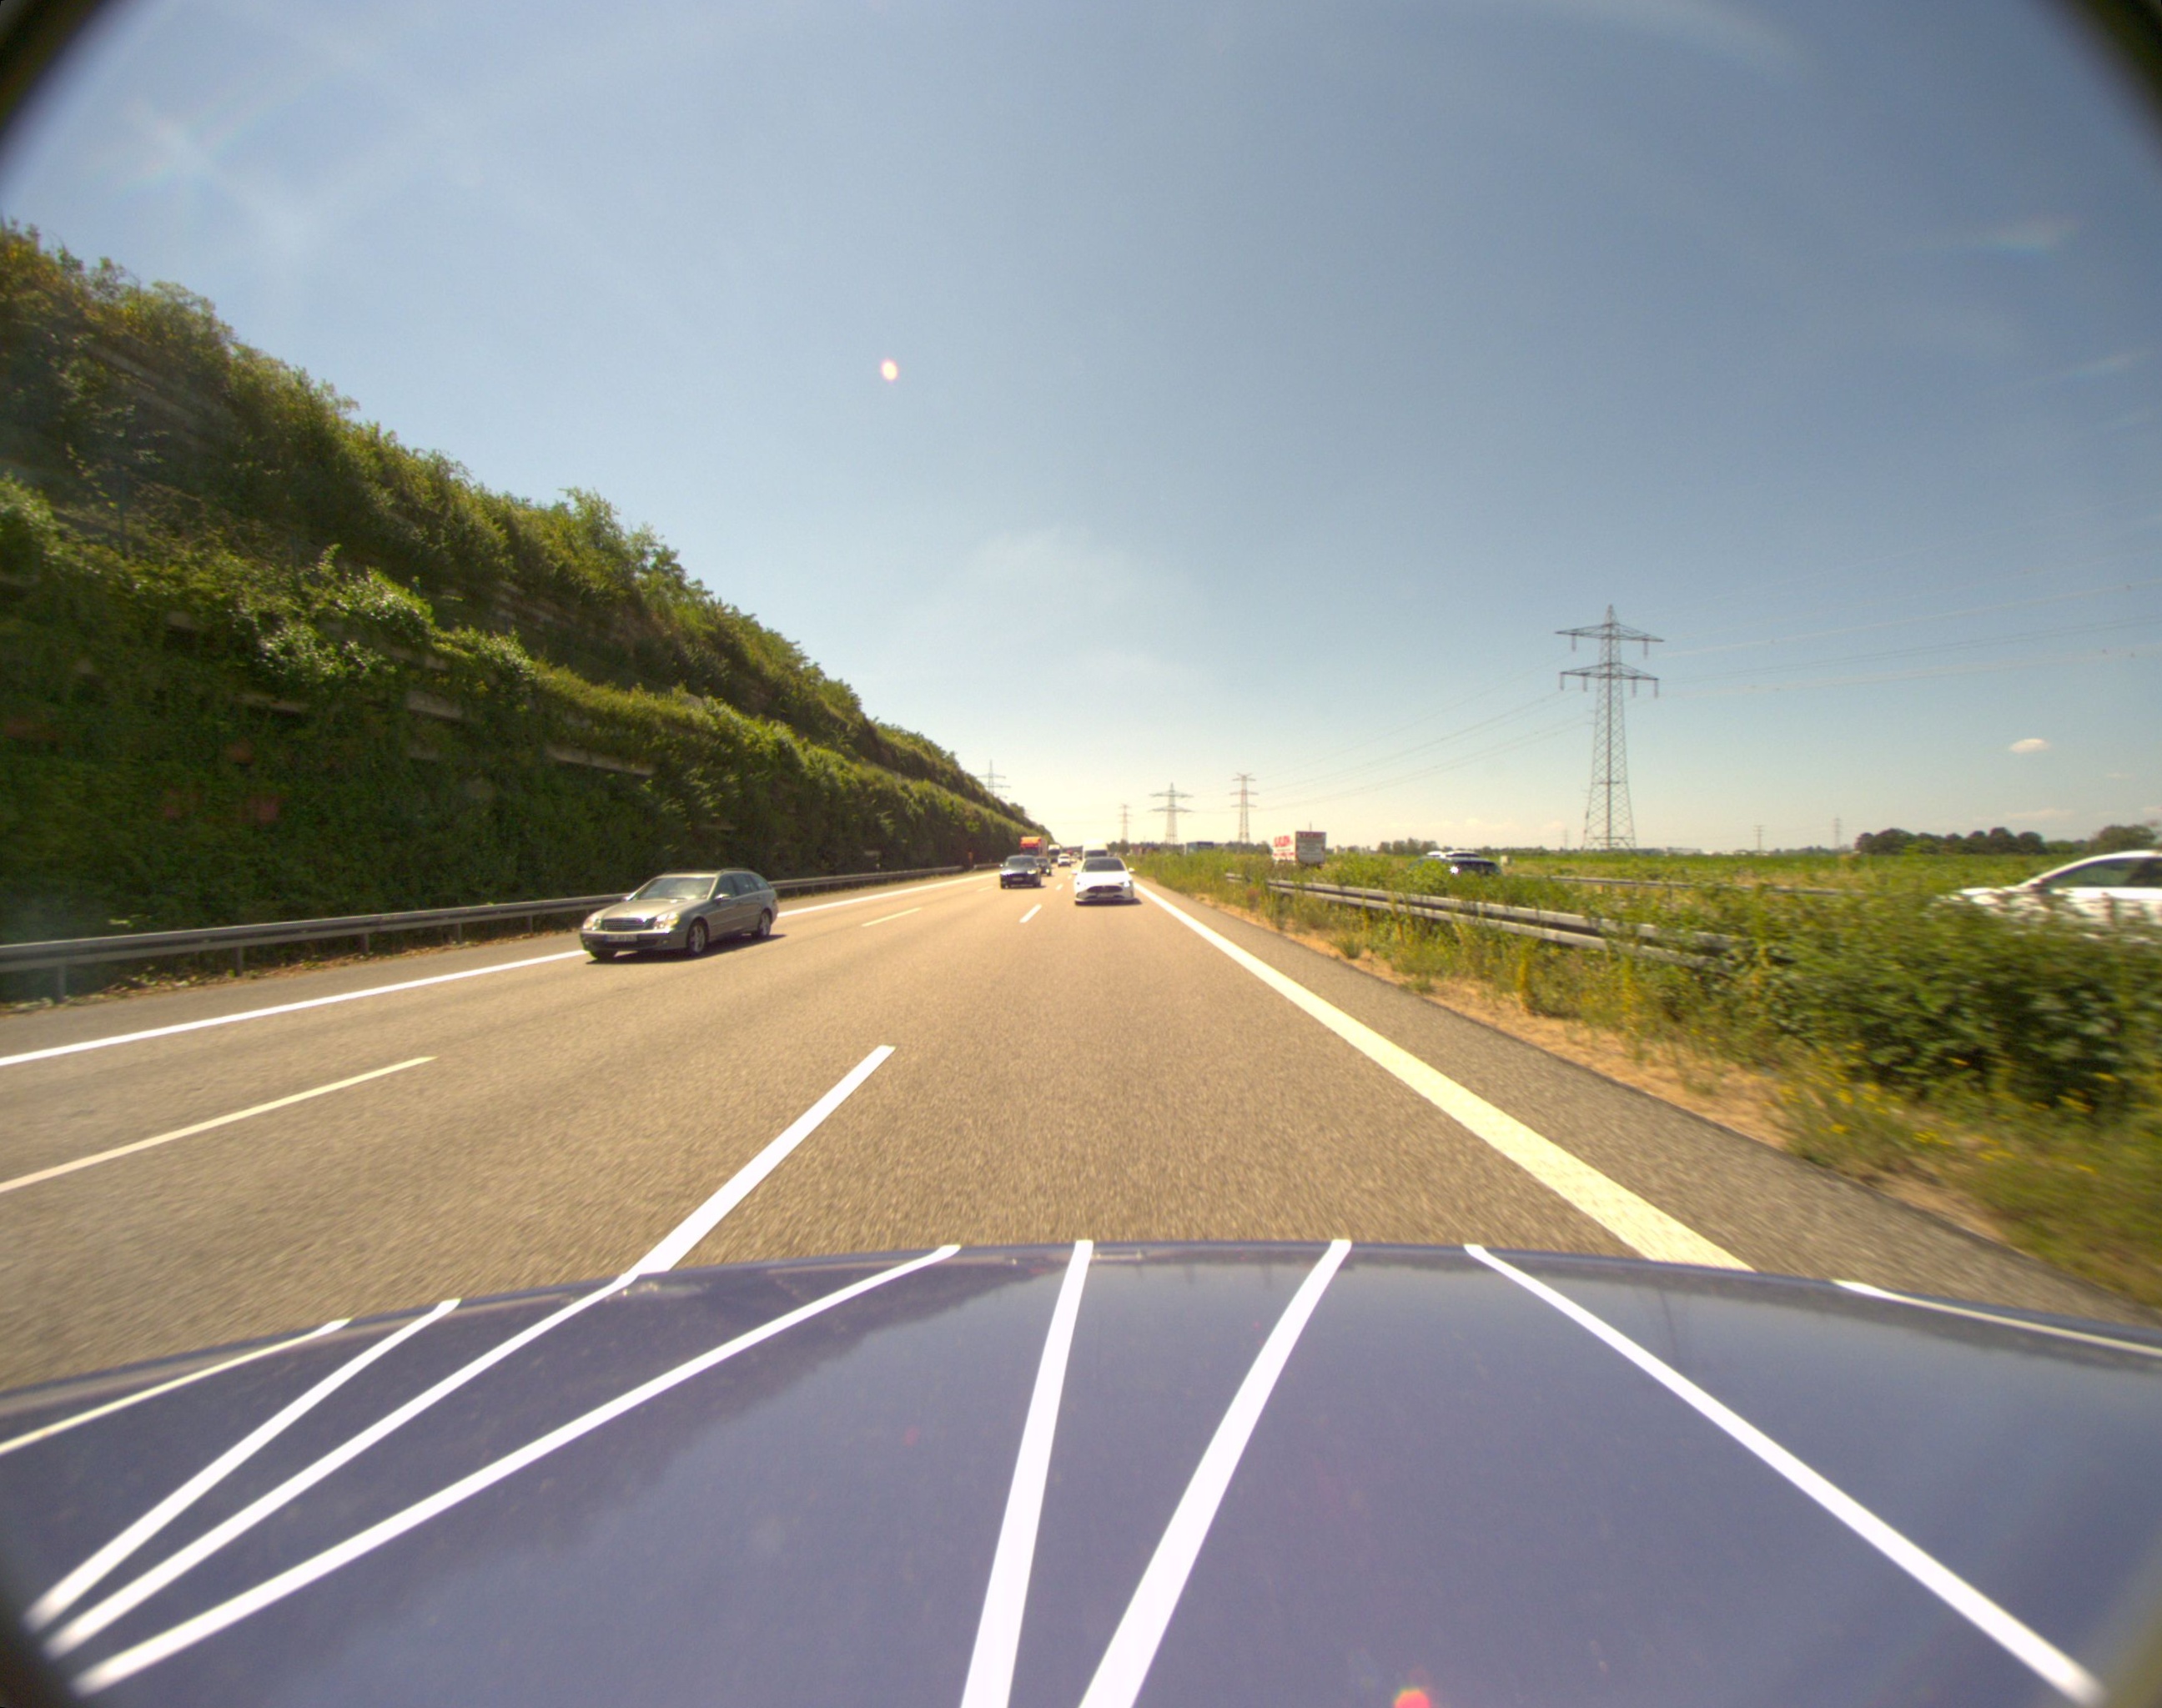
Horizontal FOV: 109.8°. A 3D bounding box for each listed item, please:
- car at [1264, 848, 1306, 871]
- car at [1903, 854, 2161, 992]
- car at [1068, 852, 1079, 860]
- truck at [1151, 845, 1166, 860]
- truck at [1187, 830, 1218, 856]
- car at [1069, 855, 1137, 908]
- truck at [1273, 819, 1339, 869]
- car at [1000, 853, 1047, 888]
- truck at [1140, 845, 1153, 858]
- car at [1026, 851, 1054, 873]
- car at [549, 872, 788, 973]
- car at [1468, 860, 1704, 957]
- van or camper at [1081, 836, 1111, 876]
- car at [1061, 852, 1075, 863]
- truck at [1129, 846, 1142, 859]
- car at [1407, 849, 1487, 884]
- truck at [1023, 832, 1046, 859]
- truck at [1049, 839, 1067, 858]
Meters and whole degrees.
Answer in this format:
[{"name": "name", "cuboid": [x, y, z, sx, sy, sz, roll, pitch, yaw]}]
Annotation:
[{"name": "car", "cuboid": [14.921, 0.392, 55.831, 1.866, 1.644, 4.558, 0, 0, 0]}, {"name": "car", "cuboid": [14.018, 0.838, 9.828, 1.866, 1.644, 4.558, -1, 0, 1]}, {"name": "car", "cuboid": [-1.488, 0.340, 151.124, 1.984, 1.525, 4.137, 0, 0, 1]}, {"name": "truck", "cuboid": [21.671, -0.433, 212.030, 3.215, 4.060, 9.646, 0, 1, 0]}, {"name": "truck", "cuboid": [19.911, -1.844, 124.661, 3.507, 4.060, 9.646, 0, 1, 0]}, {"name": "car", "cuboid": [0.696, 0.812, 24.869, 1.984, 1.525, 4.558, -1, 0, 1]}, {"name": "truck", "cuboid": [19.251, -0.857, 65.759, 3.214, 4.060, 9.649, 0, 1, 3]}, {"name": "car", "cuboid": [-2.913, 0.791, 39.315, 1.984, 1.671, 4.558, -1, 0, 1]}, {"name": "truck", "cuboid": [20.926, -0.741, 242.434, 3.215, 4.060, 9.646, 0, 1, 0]}, {"name": "car", "cuboid": [-3.270, 0.584, 61.246, 1.984, 1.671, 4.558, -1, 0, 1]}, {"name": "car", "cuboid": [-7.279, 1.118, 14.069, 1.840, 1.403, 4.558, -2, 0, 1]}, {"name": "car", "cuboid": [10.046, 0.980, 15.644, 1.866, 1.644, 4.558, 0, 0, 1]}, {"name": "van or camper", "cuboid": [1.145, 0.096, 55.748, 1.998, 2.740, 5.410, -2, 0, 3]}, {"name": "car", "cuboid": [-1.825, 0.528, 108.025, 1.984, 1.525, 4.137, 0, 0, 1]}, {"name": "truck", "cuboid": [16.807, -0.494, 233.395, 3.215, 4.060, 9.646, 0, 1, 0]}, {"name": "car", "cuboid": [18.291, 0.579, 38.181, 1.866, 1.644, 4.558, 0, 0, 1]}, {"name": "truck", "cuboid": [-5.971, -1.112, 98.350, 2.581, 3.204, 5.713, -2, 1, 0]}, {"name": "truck", "cuboid": [-4.930, -1.251, 164.173, 3.507, 3.891, 9.646, 0, 1, 0]}]
